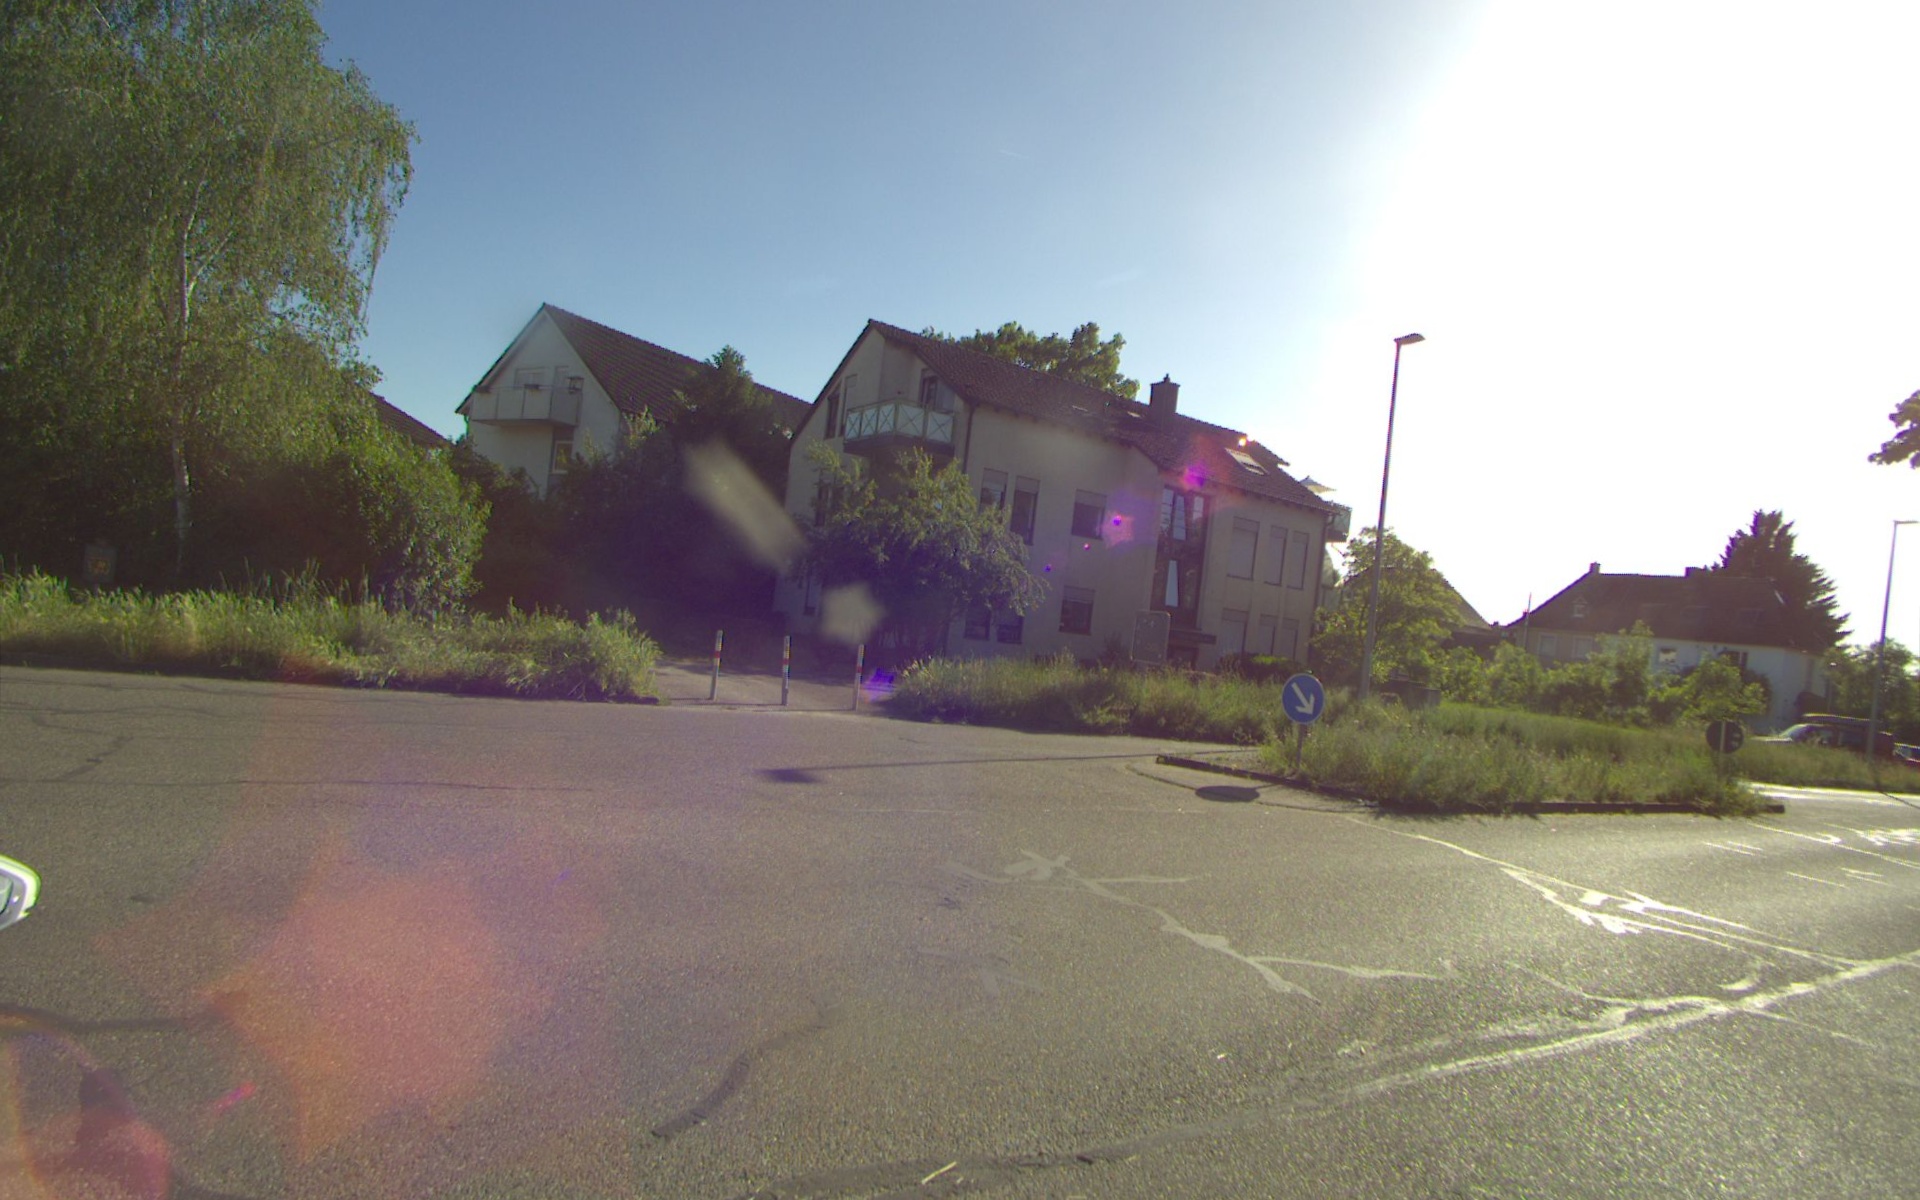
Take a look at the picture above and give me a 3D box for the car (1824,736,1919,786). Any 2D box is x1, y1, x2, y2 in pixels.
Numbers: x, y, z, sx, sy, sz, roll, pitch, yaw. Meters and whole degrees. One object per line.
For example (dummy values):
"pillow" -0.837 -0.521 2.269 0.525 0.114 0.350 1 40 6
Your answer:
"car" 36.425 6.364 39.543 3.481 1.433 1.675 6 -1 36

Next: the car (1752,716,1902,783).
"car" 31.226 5.361 36.361 3.583 1.738 1.748 7 0 22

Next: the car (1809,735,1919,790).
"car" 34.002 6.052 37.518 3.342 1.459 1.611 6 -1 36
